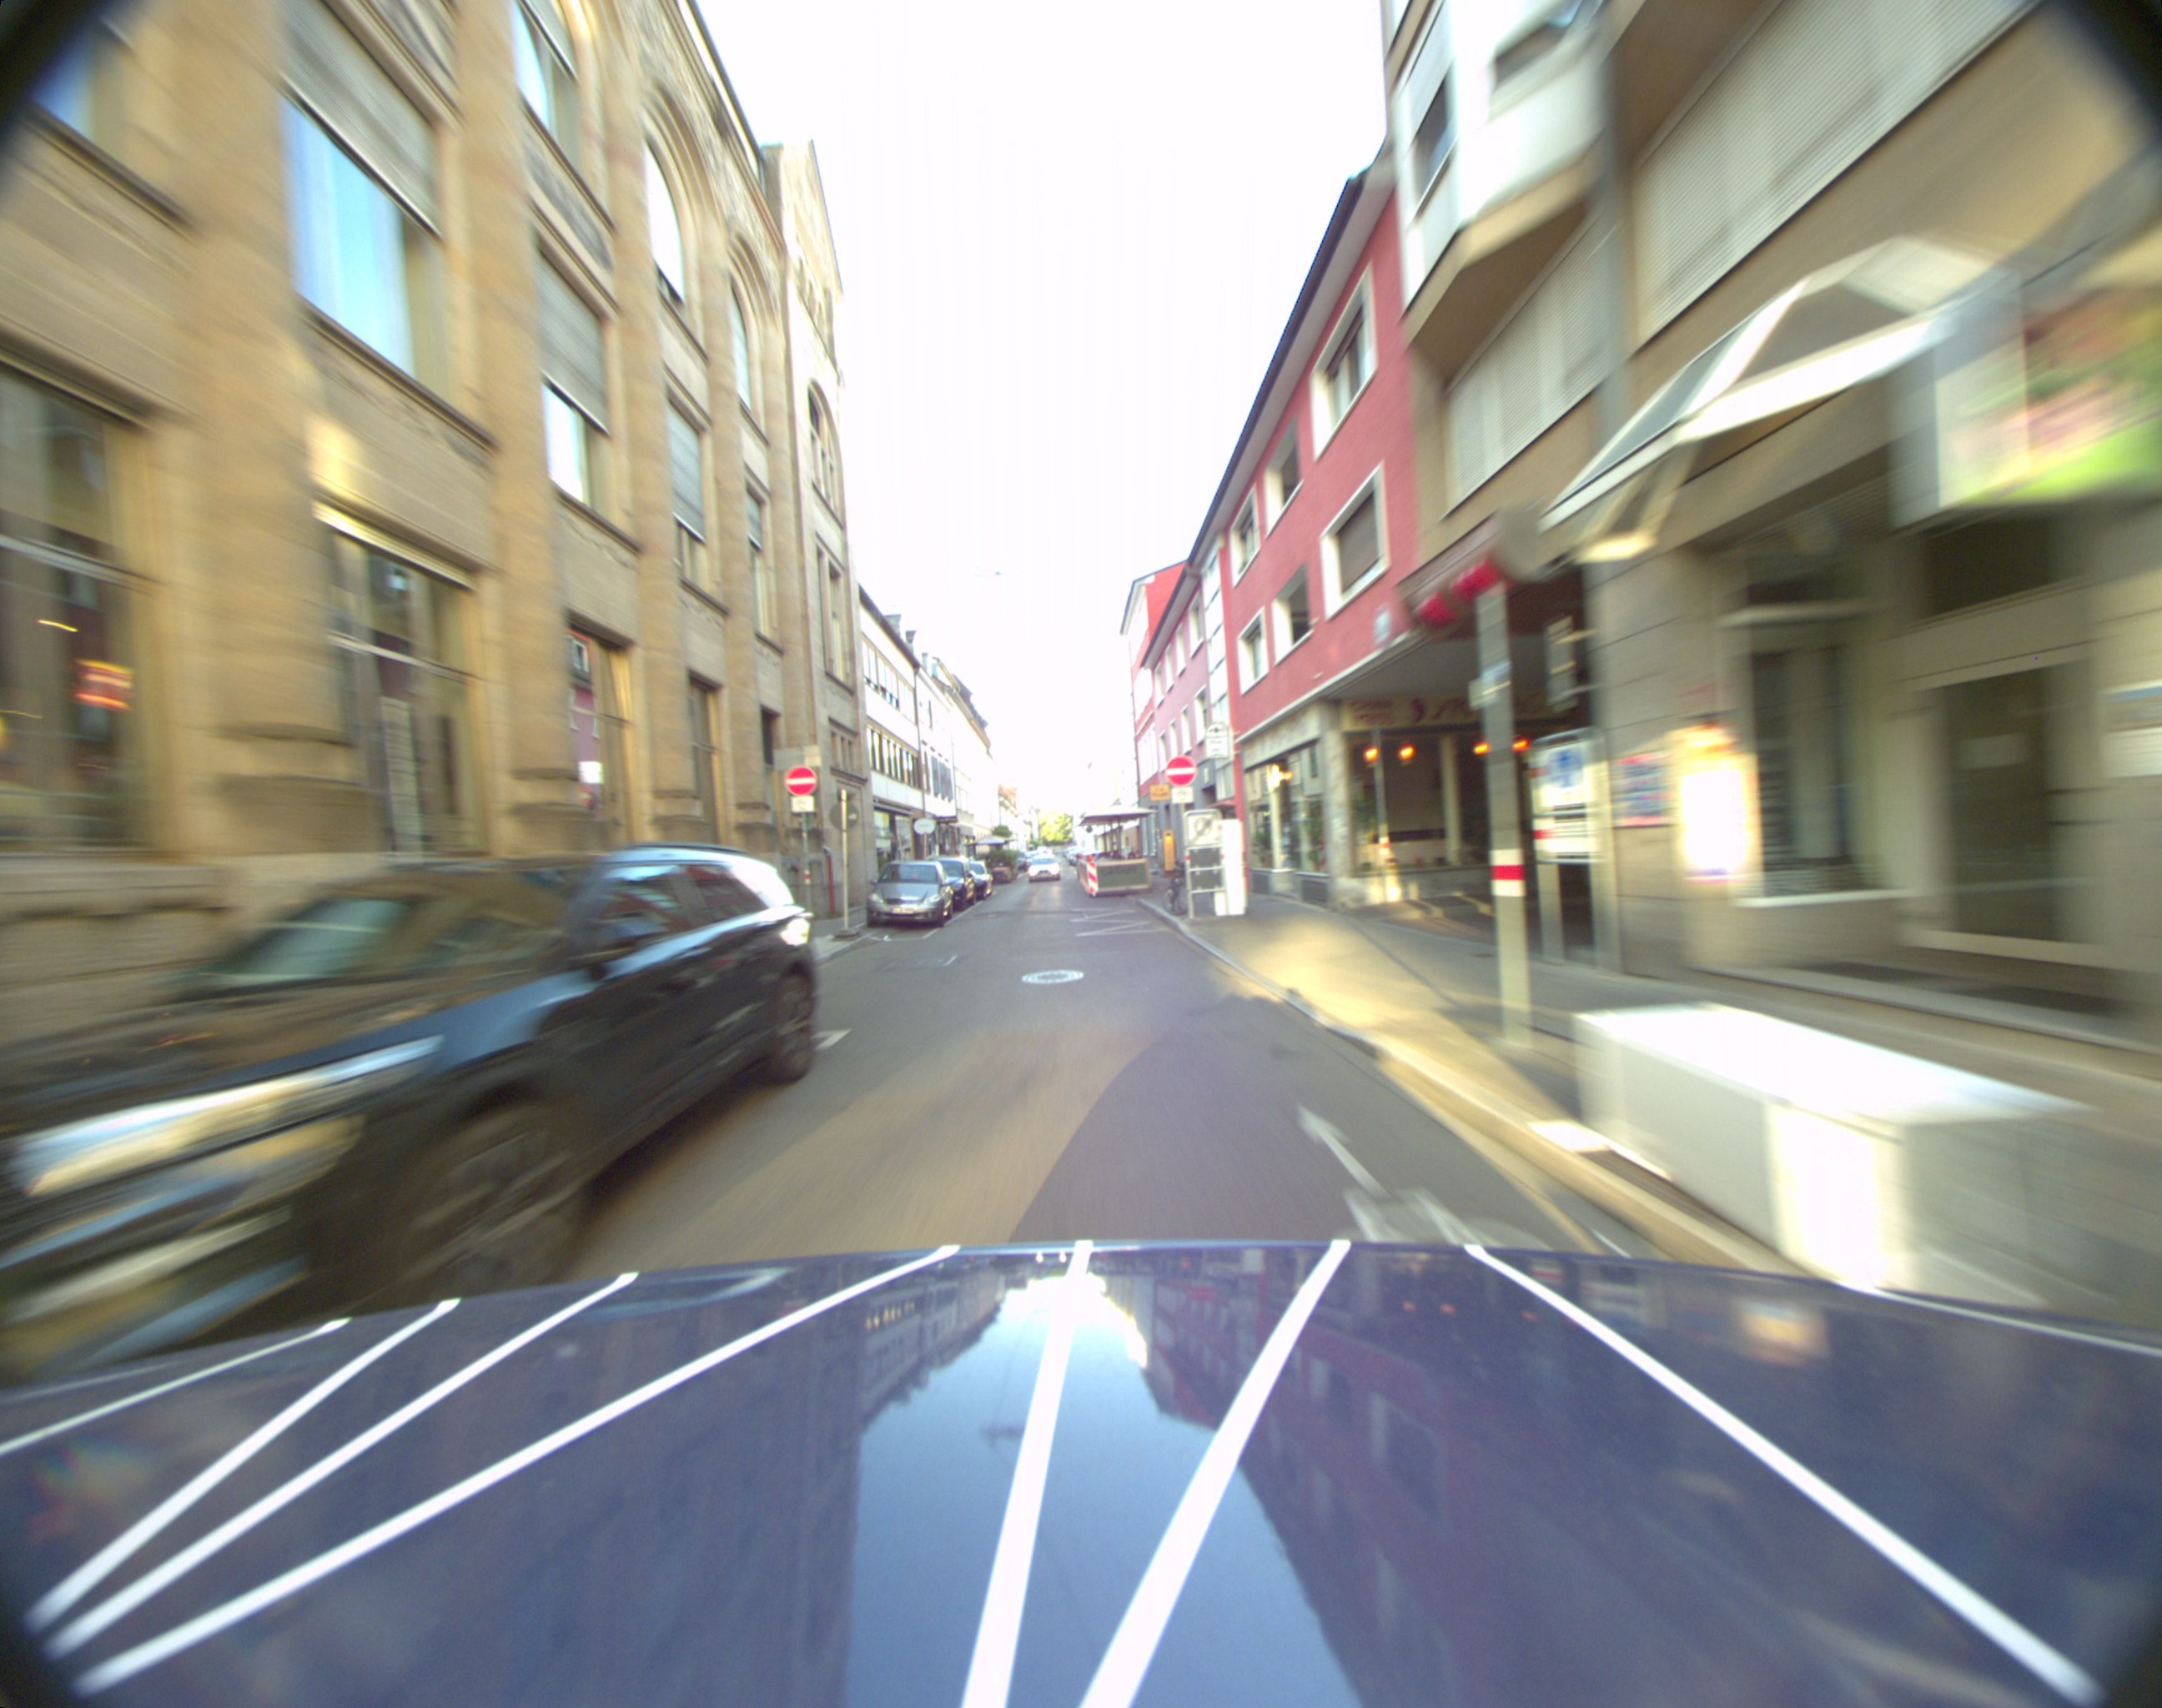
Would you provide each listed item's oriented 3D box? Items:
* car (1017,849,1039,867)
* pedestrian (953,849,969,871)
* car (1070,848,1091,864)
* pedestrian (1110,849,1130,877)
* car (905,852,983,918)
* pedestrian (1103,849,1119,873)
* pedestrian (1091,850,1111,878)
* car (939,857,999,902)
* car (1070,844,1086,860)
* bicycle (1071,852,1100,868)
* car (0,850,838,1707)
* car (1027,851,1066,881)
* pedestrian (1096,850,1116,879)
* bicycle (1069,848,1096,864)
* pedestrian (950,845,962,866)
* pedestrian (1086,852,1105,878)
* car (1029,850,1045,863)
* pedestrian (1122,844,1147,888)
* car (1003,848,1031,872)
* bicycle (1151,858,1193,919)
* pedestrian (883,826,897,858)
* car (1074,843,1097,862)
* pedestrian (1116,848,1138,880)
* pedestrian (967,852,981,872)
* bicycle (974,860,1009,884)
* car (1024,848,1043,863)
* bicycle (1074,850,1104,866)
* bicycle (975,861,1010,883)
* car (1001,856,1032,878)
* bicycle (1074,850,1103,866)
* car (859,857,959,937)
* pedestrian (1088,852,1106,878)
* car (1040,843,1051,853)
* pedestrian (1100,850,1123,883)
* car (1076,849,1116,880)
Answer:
[{"bbox_3d":[-5.618,0.400,80.340,1.999,1.667,4.457,-5,1,-2],"label":"car"},{"bbox_3d":[-6.835,0.335,43.284,0.736,1.236,0.646,-3,2,-2],"label":"pedestrian"},{"bbox_3d":[-0.065,0.168,81.146,1.999,1.462,4.457,-5,1,-2],"label":"car"},{"bbox_3d":[1.556,0.341,30.112,0.603,1.057,0.547,-5,2,-9],"label":"pedestrian"},{"bbox_3d":[-4.354,0.916,24.767,1.674,1.796,4.238,-5,1,-1],"label":"car"},{"bbox_3d":[1.324,0.306,33.868,0.559,1.031,0.492,-5,2,-9],"label":"pedestrian"},{"bbox_3d":[0.806,0.398,30.348,0.612,1.057,0.547,-5,2,-9],"label":"pedestrian"},{"bbox_3d":[-4.398,0.948,30.481,1.694,1.507,4.989,-5,1,-2],"label":"car"},{"bbox_3d":[-0.424,-0.260,103.058,1.999,2.030,4.457,-5,1,-2],"label":"car"},{"bbox_3d":[0.428,0.553,69.112,2.481,1.172,0.784,-5,2,4],"label":"bicycle"},{"bbox_3d":[-3.031,0.942,3.993,1.999,1.773,4.933,-4,1,-3],"label":"car"},{"bbox_3d":[-1.906,0.651,43.226,1.999,1.414,4.457,-5,1,-2],"label":"car"},{"bbox_3d":[0.975,0.404,29.436,0.612,1.057,0.547,-5,2,-9],"label":"pedestrian"},{"bbox_3d":[0.143,0.172,71.962,2.481,1.322,0.784,-5,2,4],"label":"bicycle"},{"bbox_3d":[-7.779,0.106,47.371,0.567,1.236,0.609,-3,2,-2],"label":"pedestrian"},{"bbox_3d":[0.629,0.468,33.444,0.673,1.057,0.547,-5,2,-9],"label":"pedestrian"},{"bbox_3d":[-6.185,0.298,106.286,1.999,1.667,4.457,-5,1,-2],"label":"car"},{"bbox_3d":[1.837,0.403,26.059,0.612,1.464,0.547,-5,2,-9],"label":"pedestrian"},{"bbox_3d":[-5.429,0.464,64.811,1.999,1.835,3.999,-5,1,-2],"label":"car"},{"bbox_3d":[1.935,0.710,16.394,0.545,1.185,1.841,-4,1,-2],"label":"bicycle"},{"bbox_3d":[-8.271,-0.513,32.917,0.437,1.342,0.424,-5,2,-4],"label":"pedestrian"},{"bbox_3d":[0.451,-0.132,75.541,1.999,1.667,4.457,-5,1,-2],"label":"car"},{"bbox_3d":[1.622,0.342,26.888,0.612,1.057,0.547,-5,2,-9],"label":"pedestrian"},{"bbox_3d":[-7.097,0.537,50.410,0.736,1.236,0.646,-5,2,0],"label":"pedestrian"},{"bbox_3d":[-4.882,0.981,41.527,1.874,1.295,0.596,-1,1,-1],"label":"bicycle"},{"bbox_3d":[-5.934,0.209,95.311,1.999,1.667,4.457,-5,1,-2],"label":"car"},{"bbox_3d":[0.695,0.329,65.093,2.481,1.172,0.784,-5,2,4],"label":"bicycle"},{"bbox_3d":[-4.898,0.987,42.210,1.874,1.221,0.596,0,1,-1],"label":"bicycle"},{"bbox_3d":[-4.625,0.908,54.912,1.940,1.288,3.999,-5,1,-2],"label":"car"},{"bbox_3d":[0.677,0.366,66.913,2.481,1.172,0.784,-5,2,4],"label":"bicycle"},{"bbox_3d":[-4.227,0.982,19.286,1.778,1.656,3.998,-4,1,-4],"label":"car"},{"bbox_3d":[0.684,0.462,32.815,0.634,1.061,0.560,-5,2,-9],"label":"pedestrian"},{"bbox_3d":[-7.263,-1.187,156.599,1.999,1.884,4.457,-5,1,-2],"label":"car"},{"bbox_3d":[1.035,0.424,26.192,0.612,1.057,0.547,-5,2,-9],"label":"pedestrian"},{"bbox_3d":[0.766,0.506,40.774,1.722,1.452,4.133,-5,1,-3],"label":"car"}]
